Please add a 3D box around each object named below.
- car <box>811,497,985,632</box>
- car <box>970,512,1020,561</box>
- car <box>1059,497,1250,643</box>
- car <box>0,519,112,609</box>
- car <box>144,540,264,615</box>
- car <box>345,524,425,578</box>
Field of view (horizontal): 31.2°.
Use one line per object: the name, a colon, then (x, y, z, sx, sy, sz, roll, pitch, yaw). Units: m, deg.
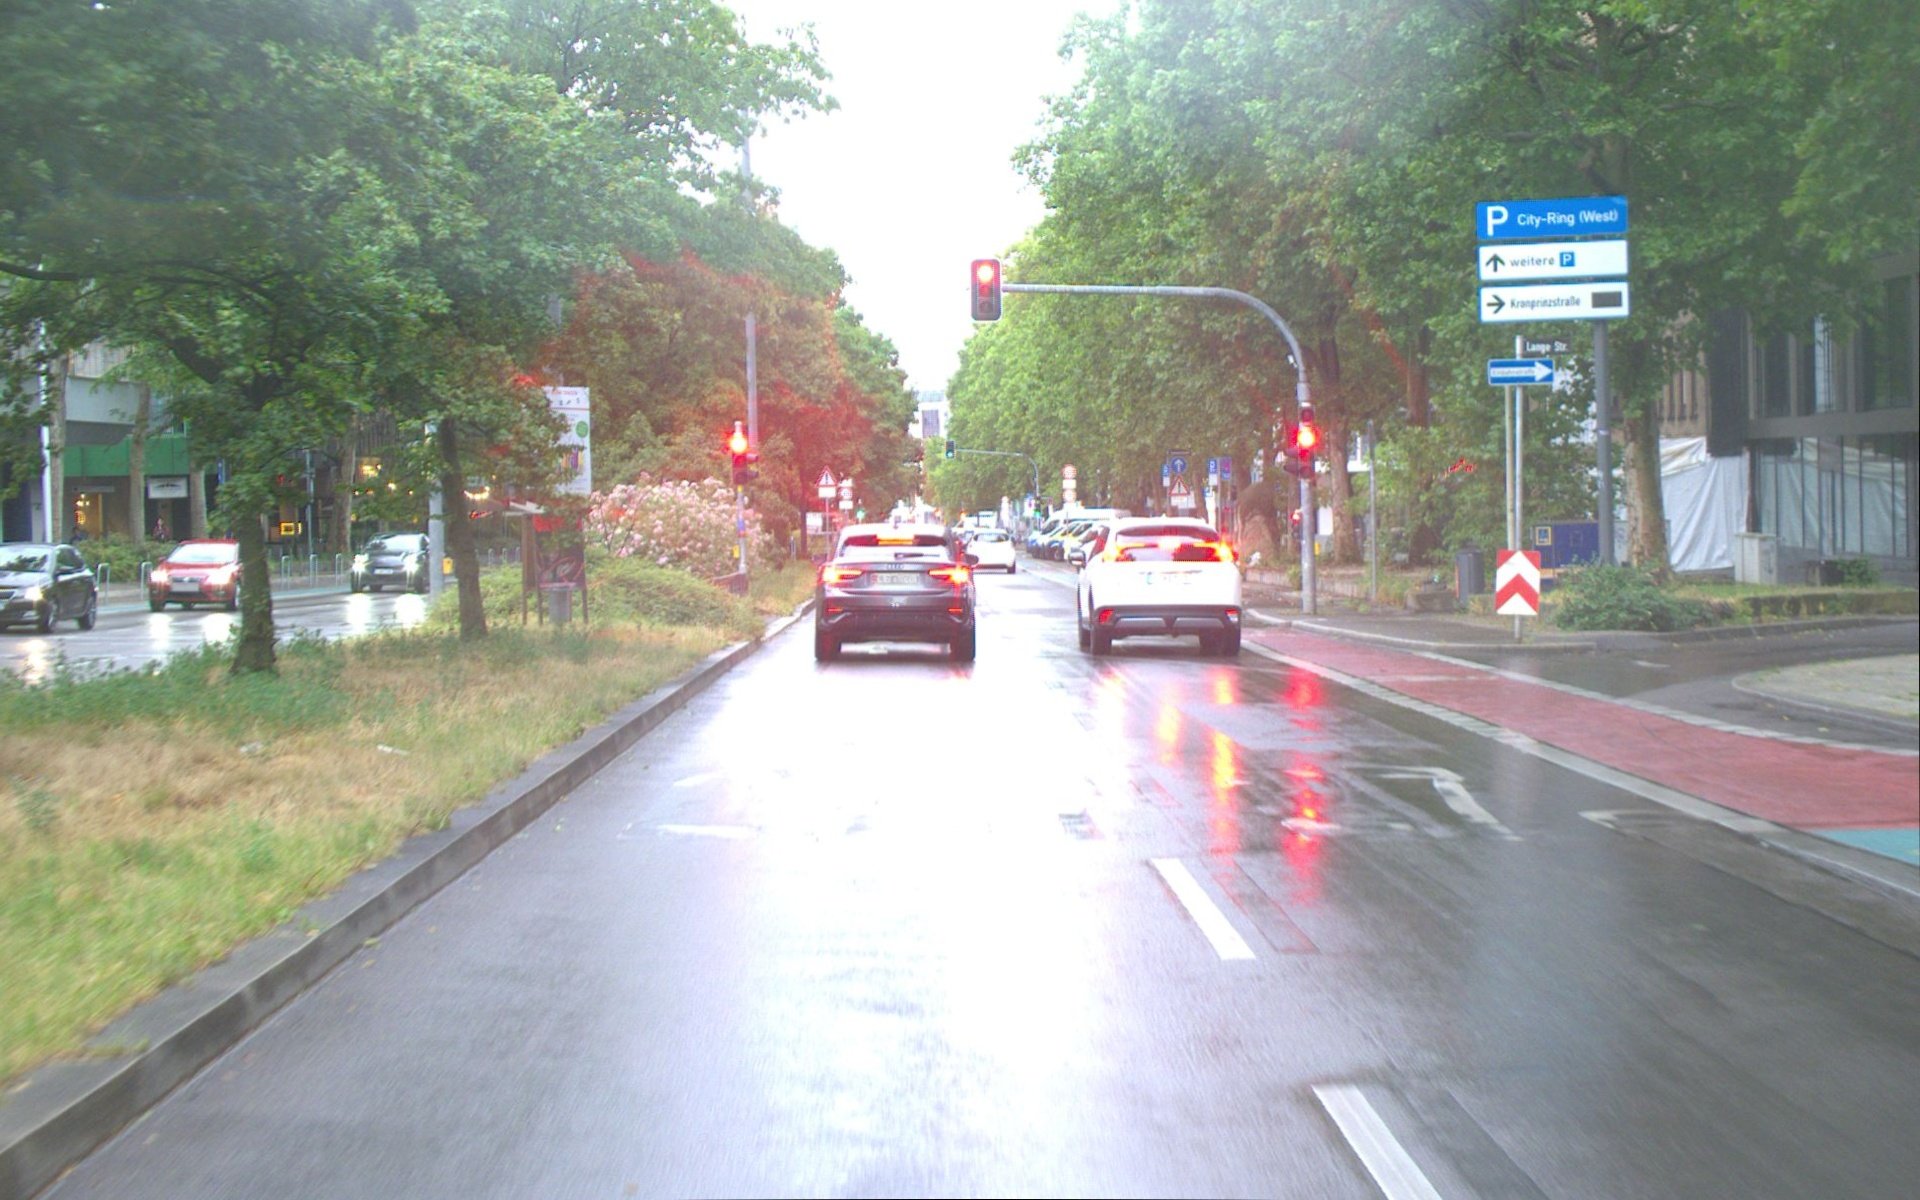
car: (-0.731, -0.451, 40.286, 1.918, 1.486, 4.001, -1, 2, -1)
car: (1.213, -2.260, 122.002, 1.620, 1.660, 4.001, -1, 2, -1)
car: (2.347, -0.430, 42.750, 1.993, 1.649, 4.889, -1, 2, -1)
car: (-15.250, -0.610, 56.195, 1.843, 1.384, 4.001, -1, 2, -1)
car: (-15.539, -0.487, 70.838, 1.614, 1.389, 4.185, -1, 2, -1)
car: (-15.488, -1.311, 92.698, 1.614, 1.389, 3.597, 0, 0, -1)
